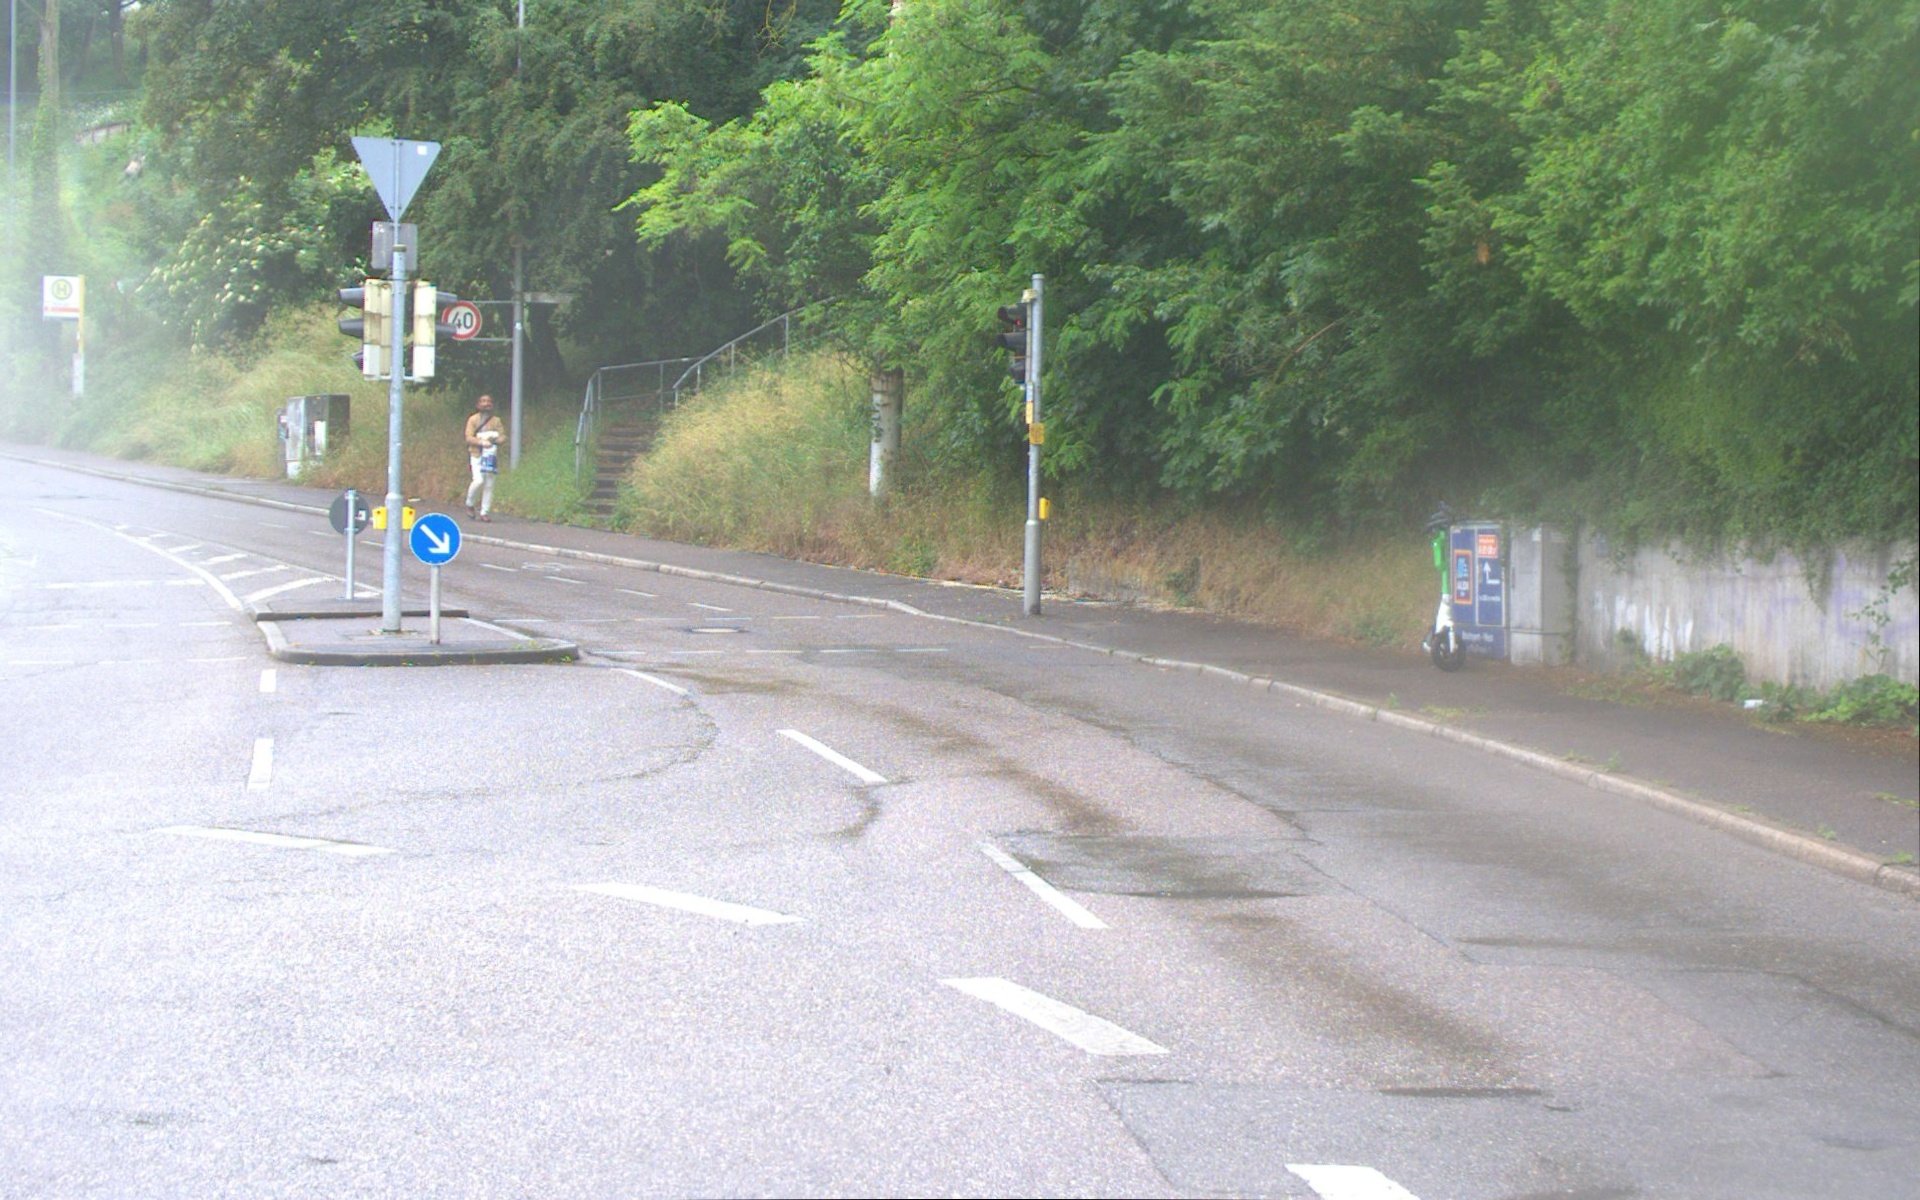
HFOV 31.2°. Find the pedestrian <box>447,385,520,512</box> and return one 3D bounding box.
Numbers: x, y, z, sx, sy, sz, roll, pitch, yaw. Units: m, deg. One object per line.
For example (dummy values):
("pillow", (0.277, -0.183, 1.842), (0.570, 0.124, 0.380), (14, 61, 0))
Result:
("pedestrian", (-6.687, -2.121, 48.272), (0.880, 1.730, 0.866), (0, -1, -17))

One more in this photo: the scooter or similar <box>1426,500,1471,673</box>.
("scooter or similar", (3.723, -0.112, 26.216), (0.322, 1.275, 0.751), (0, 3, 8))
